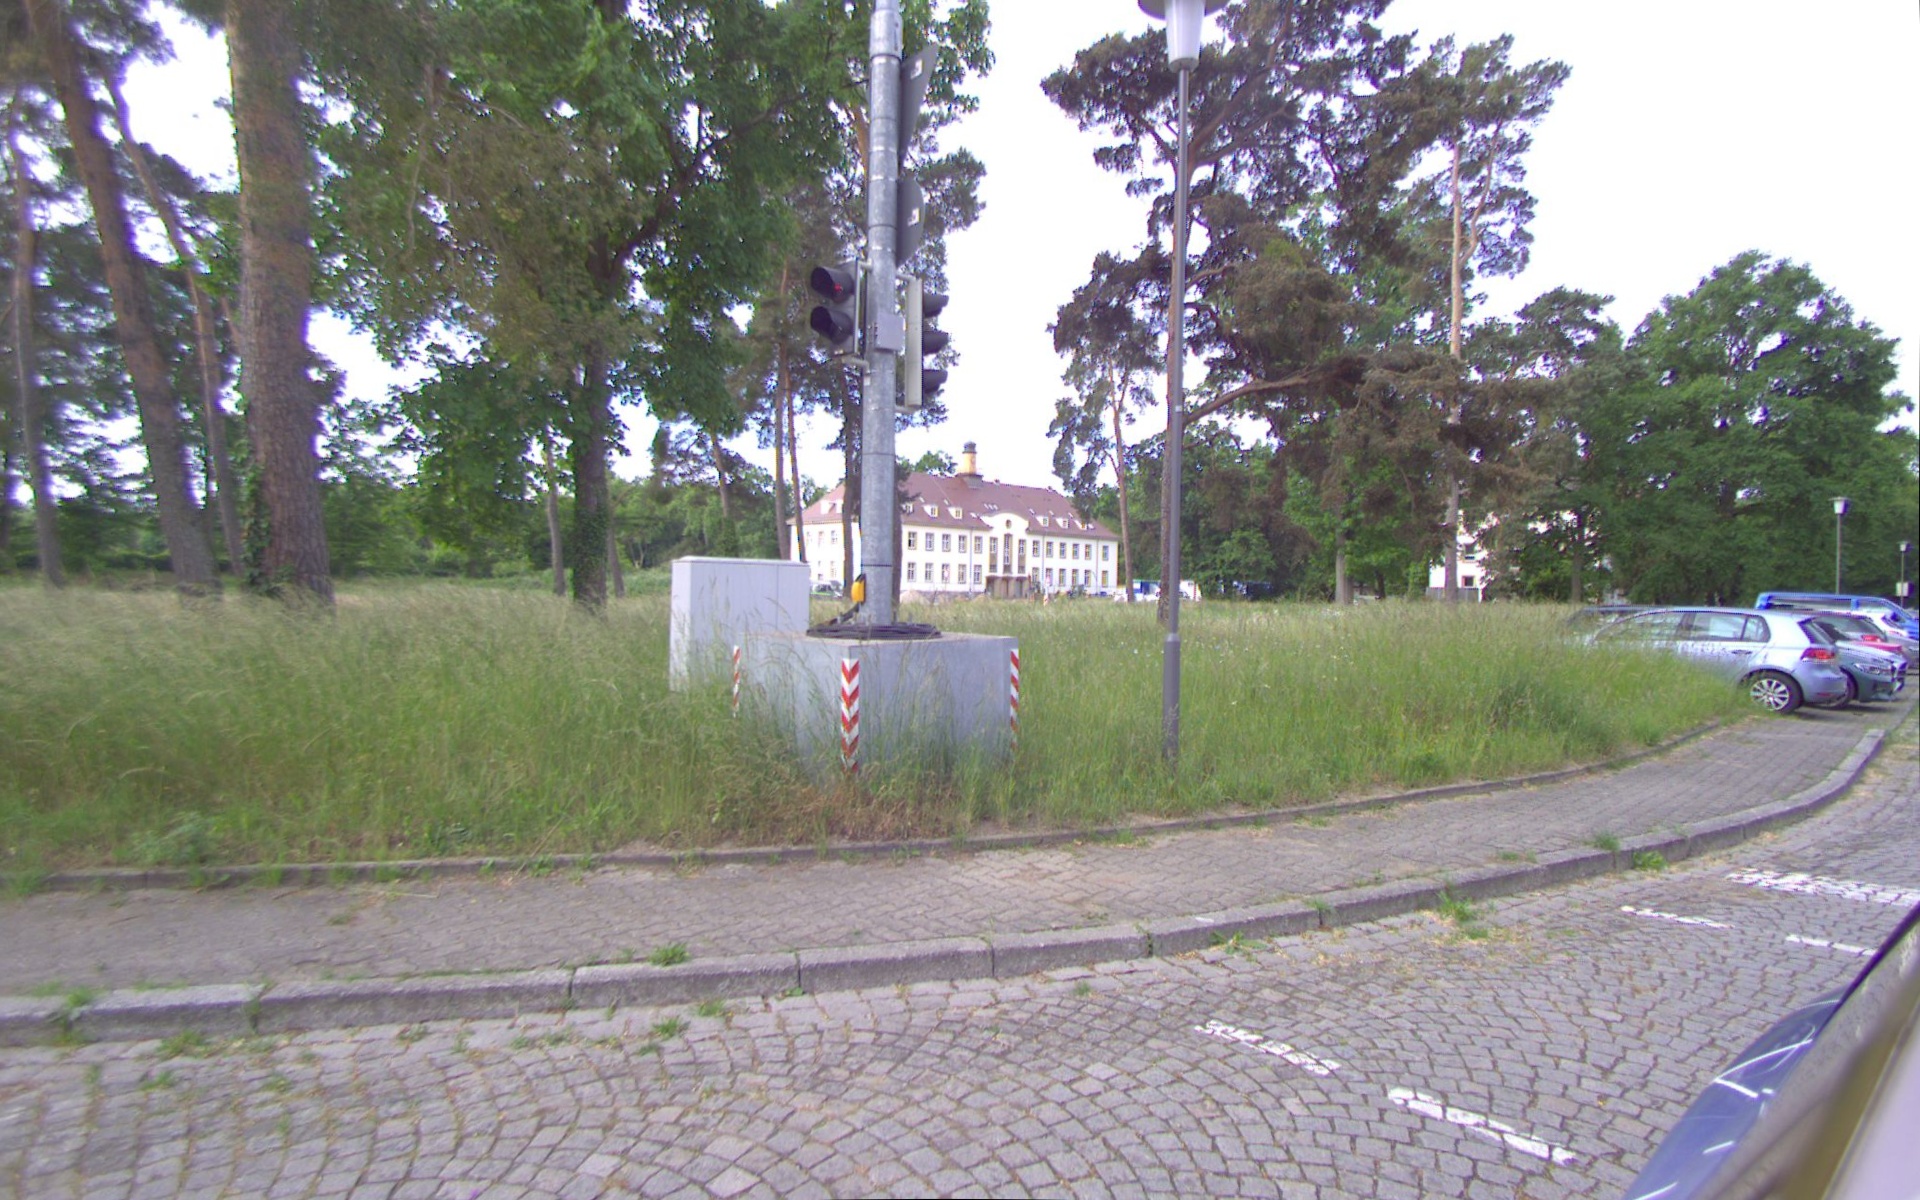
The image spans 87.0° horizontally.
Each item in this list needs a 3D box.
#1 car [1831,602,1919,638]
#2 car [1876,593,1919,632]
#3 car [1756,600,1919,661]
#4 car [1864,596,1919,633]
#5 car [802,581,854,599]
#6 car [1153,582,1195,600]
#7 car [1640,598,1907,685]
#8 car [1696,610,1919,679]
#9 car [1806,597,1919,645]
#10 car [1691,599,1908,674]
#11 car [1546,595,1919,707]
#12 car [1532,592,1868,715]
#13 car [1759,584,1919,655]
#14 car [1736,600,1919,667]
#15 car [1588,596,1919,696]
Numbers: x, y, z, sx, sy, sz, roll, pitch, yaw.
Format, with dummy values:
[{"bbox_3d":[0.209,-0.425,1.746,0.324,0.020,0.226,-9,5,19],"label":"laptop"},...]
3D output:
[{"bbox_3d":[41.177,0.859,44.616,1.966,1.549,3.991,0,0,-43],"label":"car"},{"bbox_3d":[51.895,0.670,54.238,1.965,2.039,3.993,1,1,-42],"label":"car"},{"bbox_3d":[23.936,0.786,27.496,1.609,1.470,3.405,1,1,-42],"label":"car"},{"bbox_3d":[48.673,0.755,51.350,1.965,1.784,4.004,1,1,-42],"label":"car"},{"bbox_3d":[-15.144,-1.189,115.846,6.164,1.882,2.307,2,1,38],"label":"car"},{"bbox_3d":[24.692,-1.045,116.632,5.132,2.039,2.152,0,1,-41],"label":"car"},{"bbox_3d":[16.241,0.747,20.342,1.769,1.470,3.967,1,1,-43],"label":"car"},{"bbox_3d":[18.104,0.890,21.645,1.469,1.222,3.596,1,1,-42],"label":"car"},{"bbox_3d":[34.003,0.762,37.414,1.966,1.630,3.992,1,1,-43],"label":"car"},{"bbox_3d":[19.680,0.793,23.826,1.770,1.524,3.779,0,1,-45],"label":"car"},{"bbox_3d":[12.647,0.726,16.833,4.758,1.501,1.734,2,1,44],"label":"car"},{"bbox_3d":[10.809,0.685,14.970,1.579,1.444,3.768,1,2,-43],"label":"car"},{"bbox_3d":[27.797,0.557,31.181,1.966,1.963,4.743,0,2,-43],"label":"car"},{"bbox_3d":[22.088,0.786,25.404,1.788,1.474,3.847,1,1,-40],"label":"car"},{"bbox_3d":[14.644,0.743,18.793,1.782,1.501,4.763,1,1,-43],"label":"car"}]
